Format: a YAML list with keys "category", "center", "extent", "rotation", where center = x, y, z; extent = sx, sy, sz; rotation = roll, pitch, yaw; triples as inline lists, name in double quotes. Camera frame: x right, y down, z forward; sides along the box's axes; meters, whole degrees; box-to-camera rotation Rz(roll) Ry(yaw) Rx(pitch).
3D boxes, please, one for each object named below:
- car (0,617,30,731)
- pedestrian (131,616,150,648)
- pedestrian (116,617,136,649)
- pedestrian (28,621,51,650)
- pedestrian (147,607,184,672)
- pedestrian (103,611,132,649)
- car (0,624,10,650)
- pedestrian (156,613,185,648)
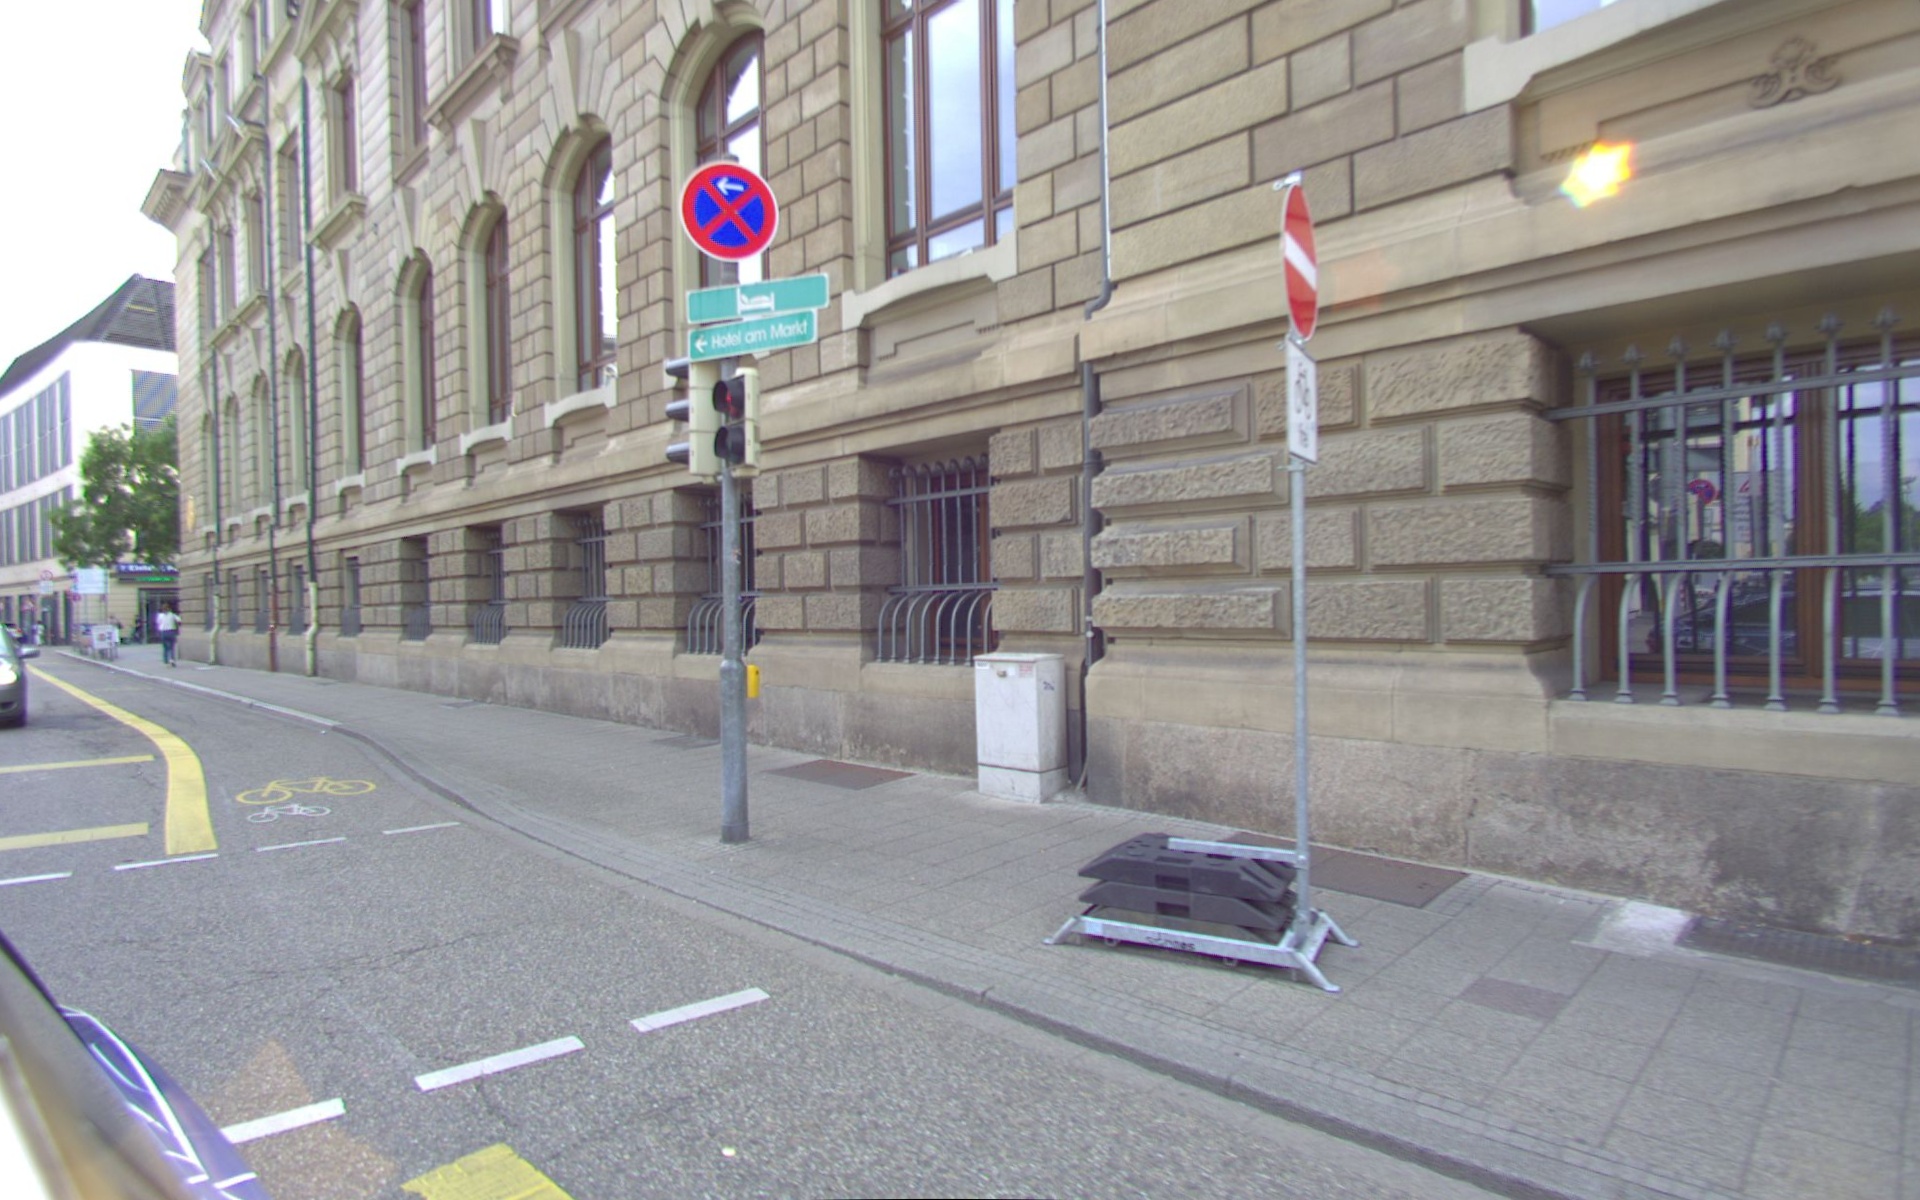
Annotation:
- category: "car"
  center: [-14.611, 1.024, 14.413]
  extent: [3.781, 1.502, 1.543]
  rotation: [-1, 1, 40]
- category: "pedestrian"
  center: [-48.212, 1.891, 59.533]
  extent: [0.858, 1.844, 0.641]
  rotation: [-1, 0, 31]
- category: "pedestrian"
  center: [-48.607, 1.898, 58.984]
  extent: [0.858, 1.844, 0.641]
  rotation: [-1, 0, 31]
- category: "pedestrian"
  center: [-58.182, 2.229, 63.975]
  extent: [0.910, 1.721, 0.867]
  rotation: [-1, 4, 43]
- category: "pedestrian"
  center: [-23.212, 1.143, 29.560]
  extent: [1.048, 1.833, 0.656]
  rotation: [-1, 2, 44]
- category: "pedestrian"
  center: [-41.584, 1.493, 49.958]
  extent: [0.856, 1.844, 0.768]
  rotation: [-1, 0, 24]
- category: "car"
  center: [-59.870, 2.284, 62.161]
  extent: [4.096, 1.568, 1.544]
  rotation: [-1, 0, 37]
- category: "pedestrian"
  center: [-40.799, 1.550, 52.287]
  extent: [0.819, 1.732, 1.015]
  rotation: [-1, 2, 44]
